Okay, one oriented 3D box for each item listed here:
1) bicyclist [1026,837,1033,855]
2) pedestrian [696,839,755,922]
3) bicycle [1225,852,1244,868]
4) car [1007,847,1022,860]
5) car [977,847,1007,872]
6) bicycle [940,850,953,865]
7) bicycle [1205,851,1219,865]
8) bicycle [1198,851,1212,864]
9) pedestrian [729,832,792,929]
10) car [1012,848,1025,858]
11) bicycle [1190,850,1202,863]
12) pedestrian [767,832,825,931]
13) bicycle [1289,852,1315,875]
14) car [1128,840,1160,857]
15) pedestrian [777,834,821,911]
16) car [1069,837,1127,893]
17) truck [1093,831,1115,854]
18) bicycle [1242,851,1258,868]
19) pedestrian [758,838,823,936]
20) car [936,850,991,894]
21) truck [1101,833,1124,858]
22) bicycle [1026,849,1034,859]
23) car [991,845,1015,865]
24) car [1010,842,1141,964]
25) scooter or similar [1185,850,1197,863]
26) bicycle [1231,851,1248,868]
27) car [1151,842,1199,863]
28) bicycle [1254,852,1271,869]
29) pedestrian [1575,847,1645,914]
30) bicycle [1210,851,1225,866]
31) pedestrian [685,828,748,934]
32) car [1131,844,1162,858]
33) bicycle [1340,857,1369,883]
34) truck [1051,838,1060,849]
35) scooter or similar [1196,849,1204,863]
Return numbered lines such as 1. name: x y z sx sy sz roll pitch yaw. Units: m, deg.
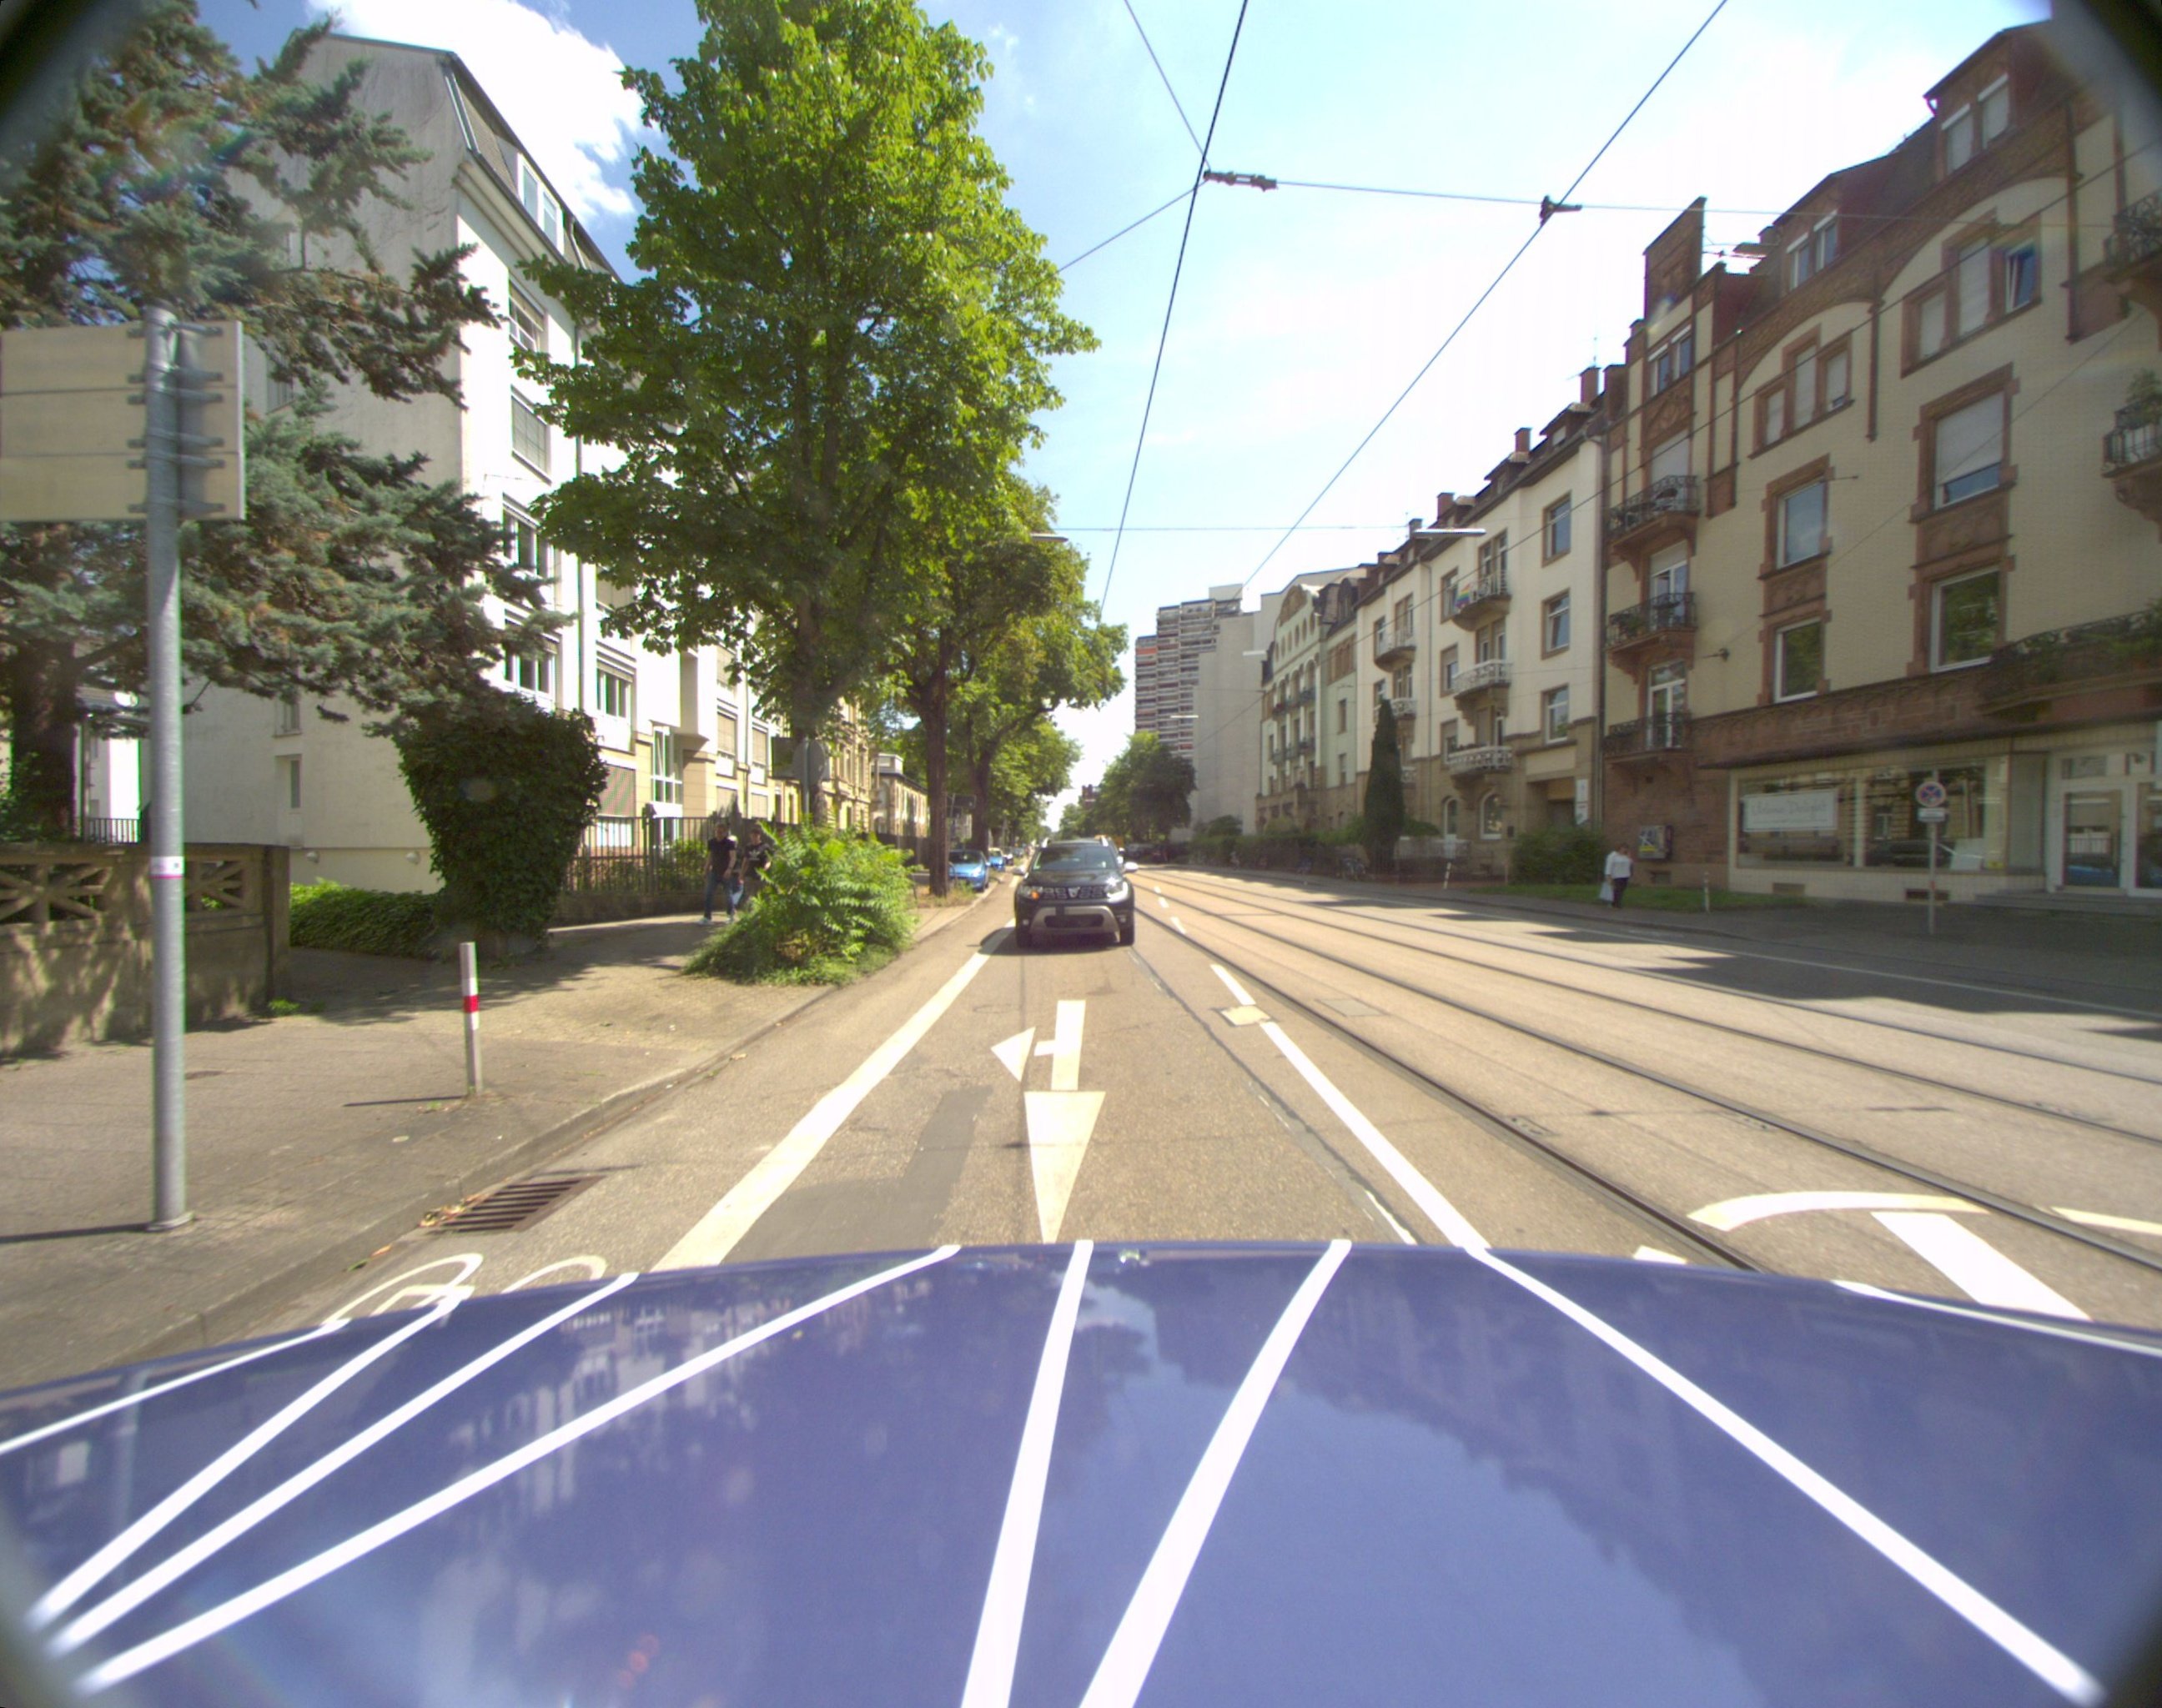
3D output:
1. bicyclist: -5.809 -0.948 86.378 0.773 2.002 0.807 0 1 -6
2. pedestrian: -7.224 0.524 15.478 0.859 1.636 0.836 0 1 -6
3. bicycle: 9.536 0.365 47.191 0.608 0.993 1.778 1 1 32
4. car: -7.562 -0.042 86.713 1.626 1.395 3.821 2 1 -4
5. car: -5.317 0.322 45.733 1.696 1.444 3.472 0 1 -4
6. bicycle: -9.630 0.251 54.539 0.609 1.065 1.980 0 1 -2
7. bicycle: 9.757 0.272 56.787 0.609 0.983 1.707 -4 1 -4
8. bicycle: 9.613 0.250 58.841 0.609 0.983 1.707 -4 1 -4
9. pedestrian: -5.971 0.471 14.217 0.790 1.751 1.051 0 1 -5
10. car: -8.681 -0.170 106.222 1.626 1.395 3.998 2 1 -4
11. bicycle: 9.429 0.208 62.249 0.609 0.983 1.707 -4 1 -4
12. pedestrian: -5.207 0.481 13.927 0.706 1.766 0.947 0 1 -2
13. bicycle: 10.952 0.451 37.643 0.609 1.059 1.771 -4 1 -4
14. car: 7.608 -0.677 91.342 4.061 2.030 1.597 -1 1 -44
15. pedestrian: -6.704 0.430 18.129 0.686 1.787 1.083 0 1 -4
16. car: 0.544 0.351 27.940 1.753 1.806 4.306 -3 1 -3
17. truck: 4.517 -2.201 146.458 2.673 4.156 10.480 0 1 10
18. bicycle: 10.277 0.342 46.149 0.465 0.993 1.707 -4 1 -3
19. pedestrian: -4.998 0.549 13.144 0.768 1.641 0.973 0 1 -2
20. car: -4.145 0.594 27.251 1.682 1.435 3.719 0 1 -4
21. truck: 3.810 -0.996 92.120 2.307 2.904 6.513 0 1 -2
22. bicycle: -5.767 0.019 86.280 0.812 1.089 2.172 0 1 -5
23. car: -6.575 0.058 64.509 1.735 1.607 4.082 2 1 -3
24. car: -0.174 0.651 12.625 1.753 1.641 4.296 -2 1 -3
25. scooter or similar: 9.250 0.200 63.888 0.407 1.014 1.222 0 1 -19
26. bicycle: 10.325 0.367 49.485 0.609 1.026 1.771 -4 1 -4
27. car: 8.888 -0.137 71.711 4.596 1.914 1.956 -1 1 -40
28. bicycle: 10.561 0.381 44.321 0.414 0.960 1.725 -4 1 -3
29. pedestrian: 12.359 0.598 17.782 0.903 1.533 0.983 0 1 -6
30. bicycle: 9.843 0.309 54.905 0.609 0.970 1.771 -4 1 -4
31. pedestrian: -6.430 0.458 13.452 0.662 1.801 0.976 0 1 -4
32. car: 7.580 -0.329 87.781 1.677 1.566 3.692 2 2 44
33. bicycle: 11.360 0.637 31.572 0.411 0.955 1.840 -3 2 -3
34. truck: -8.771 -3.549 264.158 2.792 3.599 8.254 0 1 0
35. scooter or similar: 9.479 0.160 60.493 0.407 1.114 1.290 0 1 -2
